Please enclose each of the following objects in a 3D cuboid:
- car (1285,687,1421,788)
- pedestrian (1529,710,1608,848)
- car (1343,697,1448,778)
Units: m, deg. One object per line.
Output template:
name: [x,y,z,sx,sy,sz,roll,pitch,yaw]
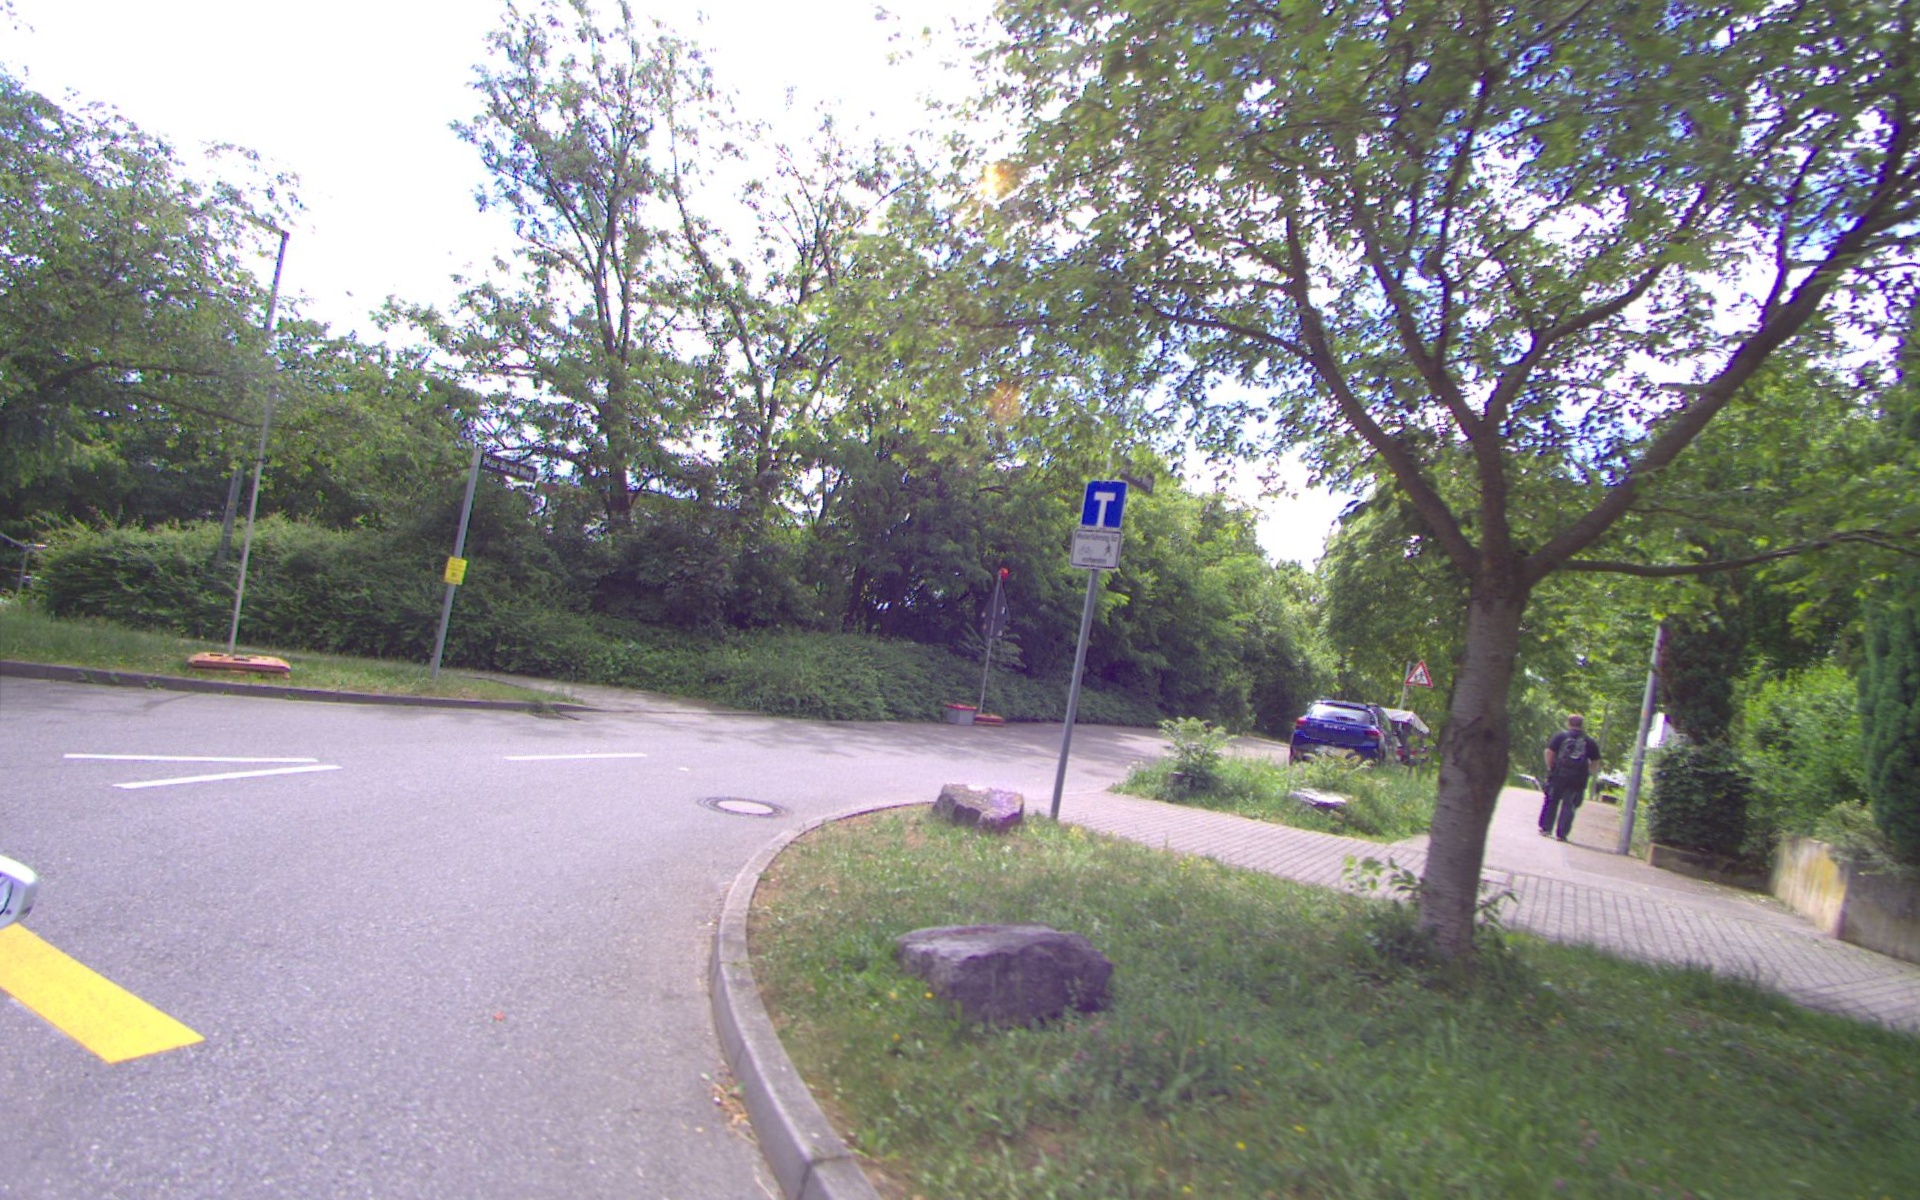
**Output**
car: [8.263,2.846,20.941,1.701,1.680,3.995,6,-4,34]
pedestrian: [8.543,2.482,14.114,0.773,1.756,0.833,6,-2,34]
car: [11.242,3.522,25.816,1.701,1.680,3.995,6,-4,34]
